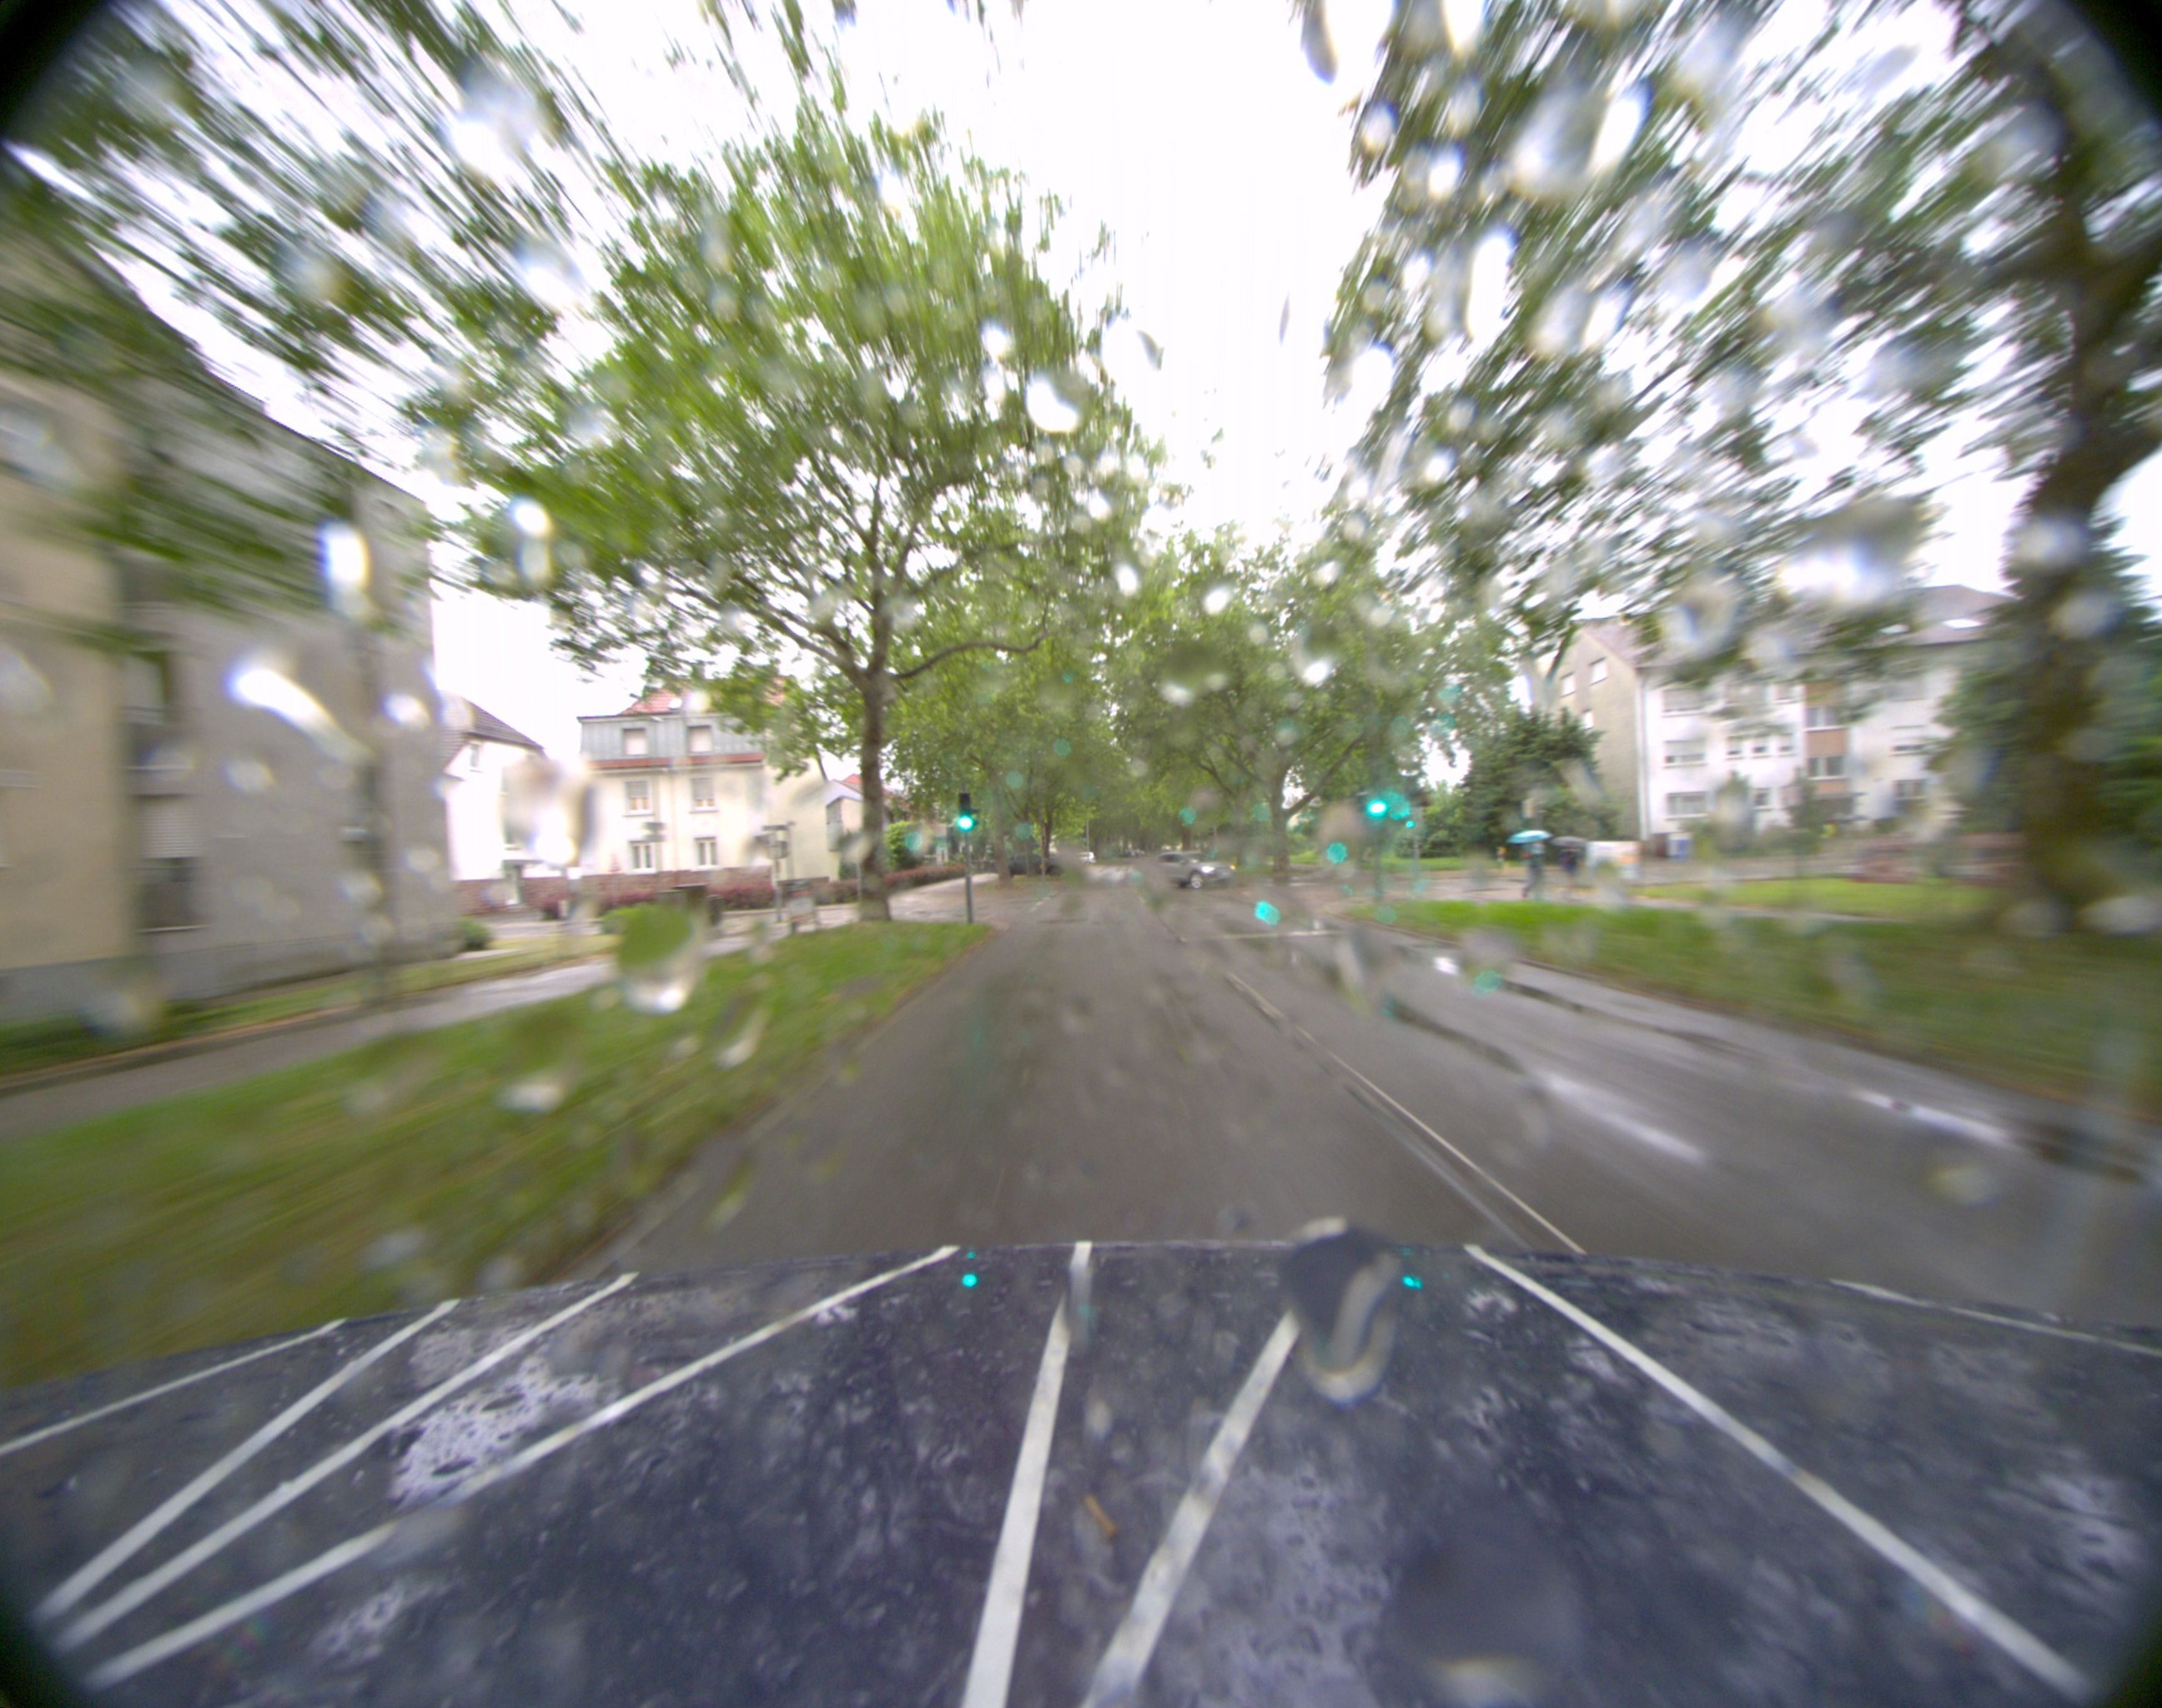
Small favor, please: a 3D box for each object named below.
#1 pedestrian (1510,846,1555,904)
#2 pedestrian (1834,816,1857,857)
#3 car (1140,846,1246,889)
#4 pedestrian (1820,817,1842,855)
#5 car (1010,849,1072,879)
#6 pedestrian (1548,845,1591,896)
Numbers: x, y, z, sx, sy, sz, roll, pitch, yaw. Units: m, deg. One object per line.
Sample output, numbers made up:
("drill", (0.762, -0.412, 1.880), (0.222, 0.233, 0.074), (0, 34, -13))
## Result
("pedestrian", (11.676, 0.527, 19.675), (0.599, 1.445, 0.856), (-3, 1, 1))
("pedestrian", (33.621, -0.745, 33.430), (0.506, 1.772, 0.461), (-3, 1, -7))
("car", (4.909, 0.603, 33.981), (2.003, 1.677, 4.710), (-3, 1, -33))
("pedestrian", (33.901, -0.824, 34.350), (0.506, 1.695, 0.461), (-3, 1, -7))
("car", (-2.793, 0.685, 53.532), (4.263, 1.845, 1.891), (-3, 1, -2))
("pedestrian", (12.605, 0.413, 19.617), (0.517, 1.254, 0.849), (-3, 1, 1))
